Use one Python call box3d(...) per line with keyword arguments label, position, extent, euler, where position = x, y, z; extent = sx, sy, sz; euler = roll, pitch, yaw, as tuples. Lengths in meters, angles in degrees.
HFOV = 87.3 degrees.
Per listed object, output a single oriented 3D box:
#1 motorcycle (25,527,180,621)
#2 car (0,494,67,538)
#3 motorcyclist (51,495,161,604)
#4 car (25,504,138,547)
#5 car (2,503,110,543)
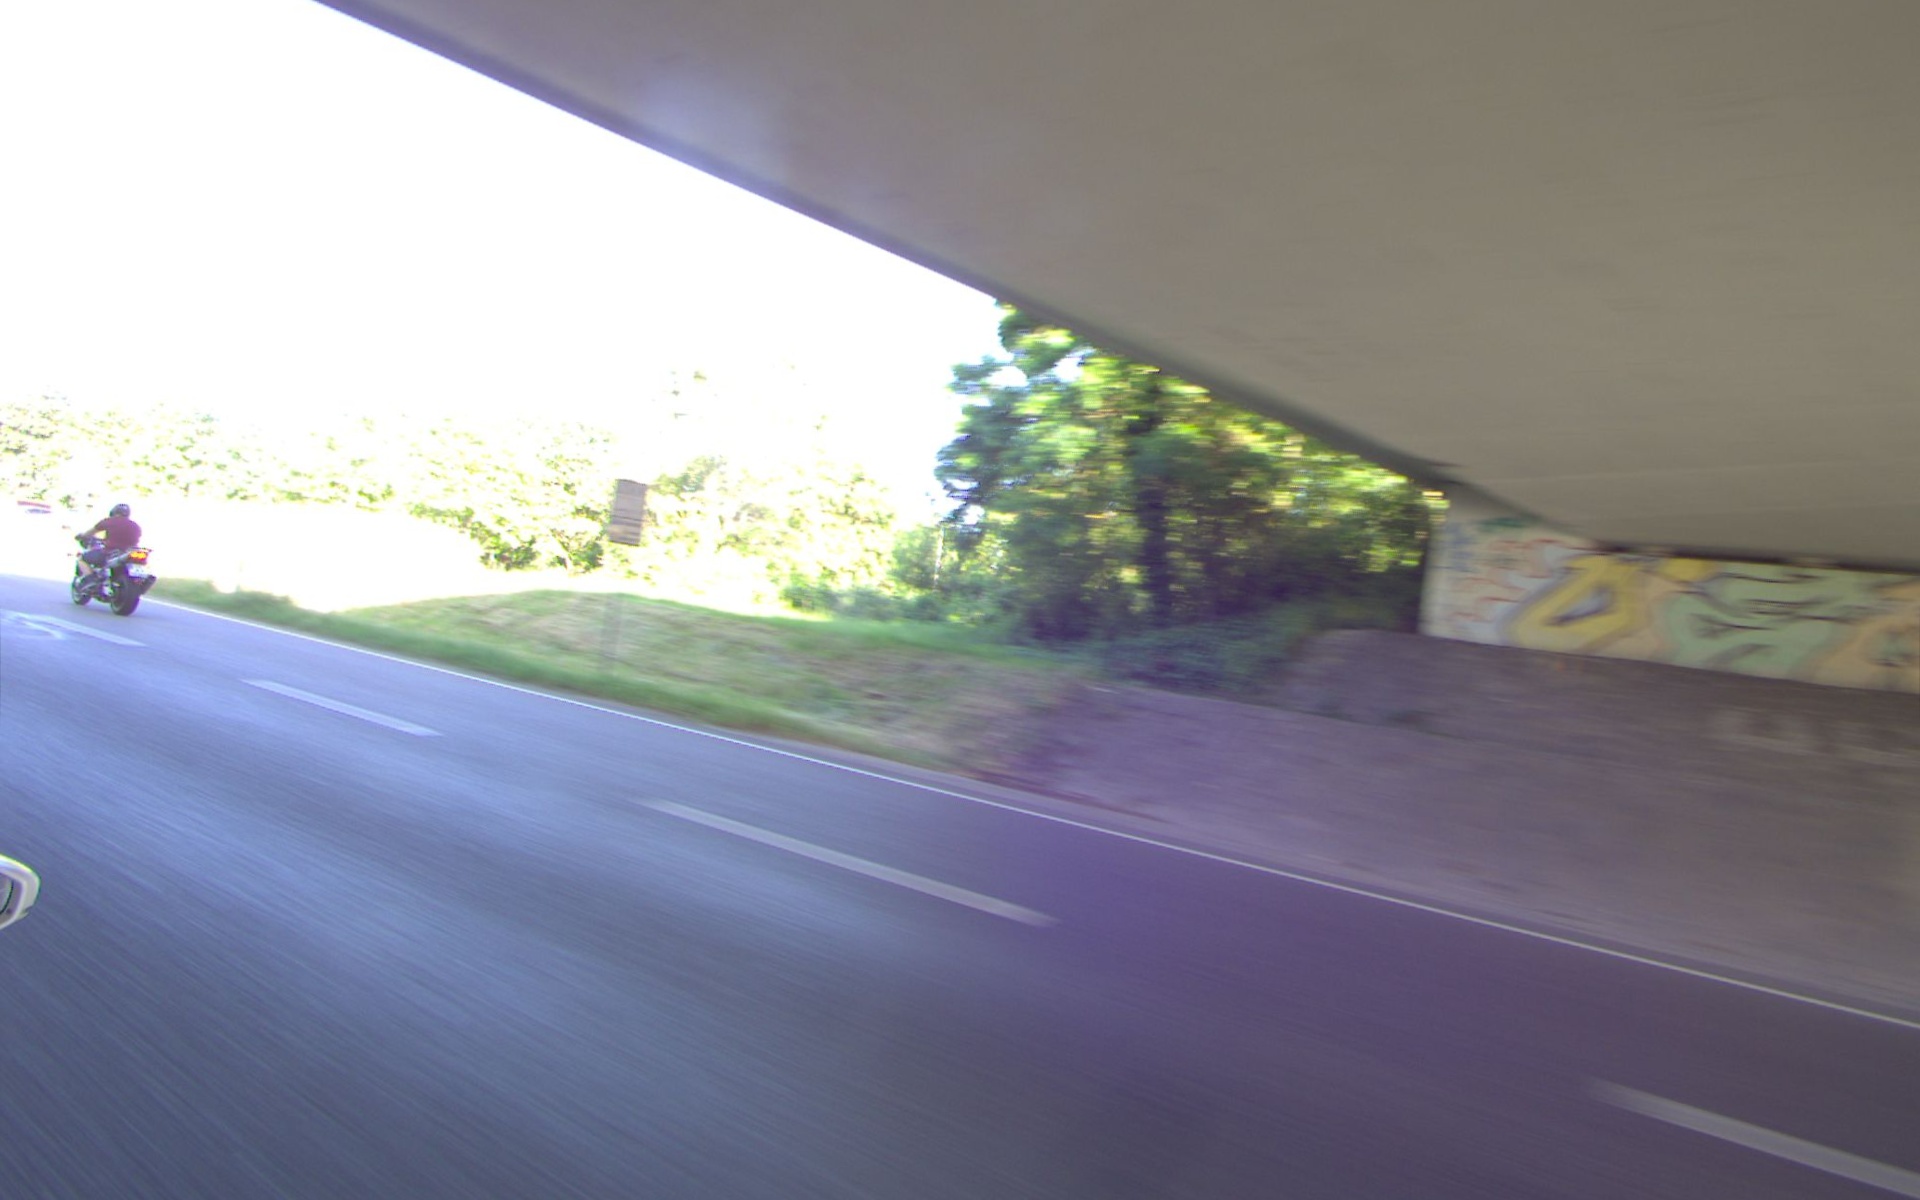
box3d(label="motorcycle", position=(-13.064, -0.416, 15.302), extent=(2.788, 1.082, 0.818), euler=(7, -2, 30))
box3d(label="car", position=(-56.687, -5.137, 59.833), extent=(1.990, 2.045, 4.808), euler=(4, -4, 25))
box3d(label="motorcyclist", position=(-12.965, -0.763, 15.278), extent=(1.075, 1.464, 0.818), euler=(7, -2, 30))
box3d(label="car", position=(-47.467, -3.997, 54.452), extent=(1.890, 1.576, 4.126), euler=(4, -4, 25))
box3d(label="car", position=(-49.887, -4.224, 55.600), extent=(1.890, 1.475, 3.947), euler=(4, -4, 25))
